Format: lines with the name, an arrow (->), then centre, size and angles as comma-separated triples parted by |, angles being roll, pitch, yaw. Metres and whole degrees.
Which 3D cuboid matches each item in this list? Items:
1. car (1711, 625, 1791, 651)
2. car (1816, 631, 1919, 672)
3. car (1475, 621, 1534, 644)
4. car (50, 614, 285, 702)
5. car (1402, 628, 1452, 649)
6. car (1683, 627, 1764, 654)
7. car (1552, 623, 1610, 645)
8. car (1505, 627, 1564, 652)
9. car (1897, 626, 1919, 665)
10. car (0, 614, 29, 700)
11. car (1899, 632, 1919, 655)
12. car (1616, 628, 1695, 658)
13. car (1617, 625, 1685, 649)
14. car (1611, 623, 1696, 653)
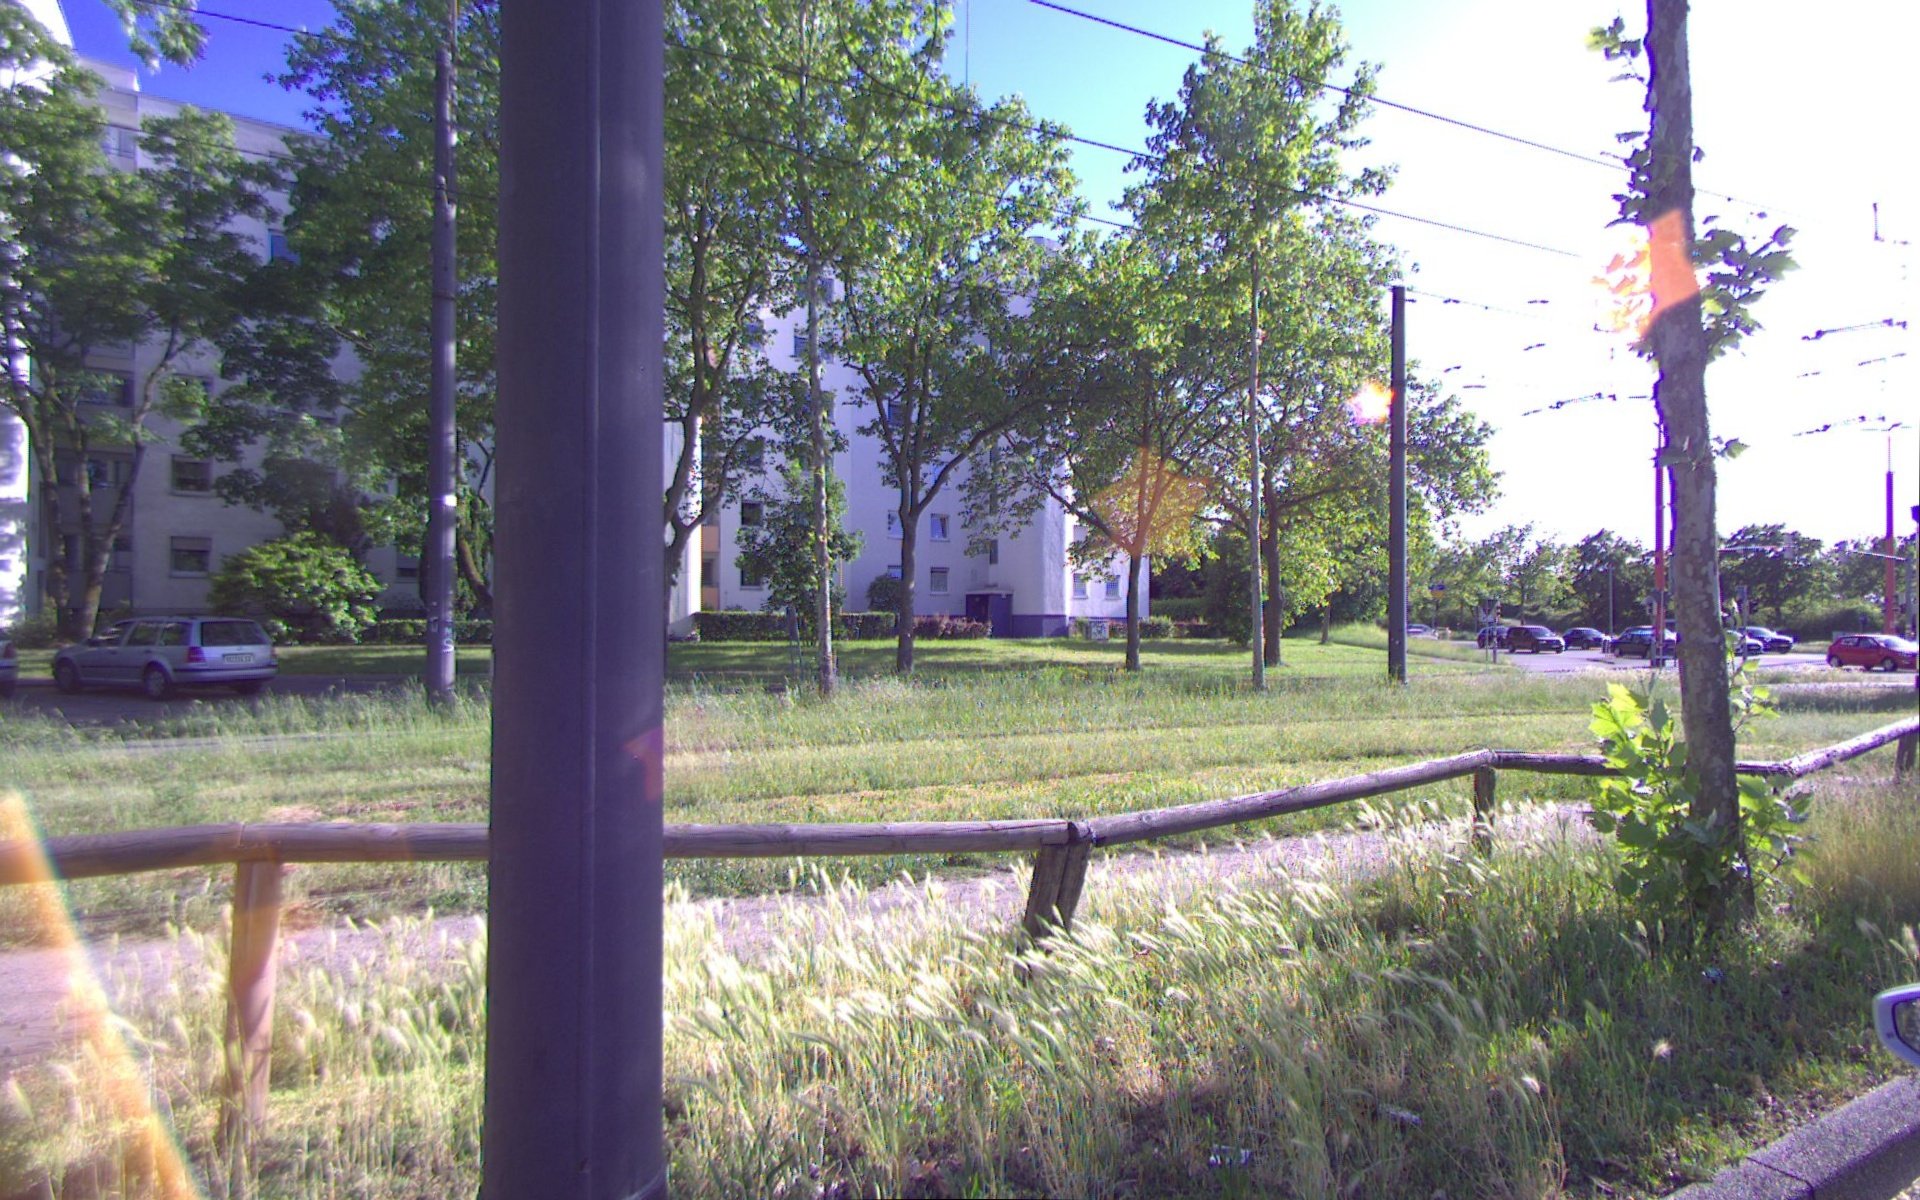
car -> 48.653, 2.317, 61.900 | 1.513, 1.434, 4.154 | 1, -1, -3
car -> 39.117, 2.167, 42.830 | 1.624, 1.540, 4.200 | 1, -1, 0
car -> 41.941, 2.470, 77.488 | 1.723, 1.669, 4.640 | 1, -1, -5
car -> -14.535, 1.005, 18.432 | 3.830, 1.421, 1.581 | 1, 0, 20
car -> 38.210, 3.137, 82.324 | 1.907, 1.540, 4.850 | 1, -1, 1
car -> 45.574, 2.388, 60.066 | 1.513, 1.434, 4.154 | 1, -1, -3
car -> 45.302, 2.452, 73.333 | 1.513, 1.434, 4.154 | 1, -1, -3
car -> 38.989, 2.636, 68.280 | 1.624, 1.540, 4.200 | 1, -1, 1
car -> 42.874, 1.989, 42.736 | 1.721, 1.669, 4.644 | 1, -1, 1
car -> -17.984, 0.942, 17.158 | 3.567, 1.421, 1.581 | 1, 0, 20
car -> 64.154, 2.884, 65.720 | 1.625, 1.476, 3.925 | 1, -1, -3
car -> 39.479, 2.424, 57.128 | 1.624, 1.540, 4.200 | 1, -1, 1
car -> 45.399, 2.421, 66.085 | 1.513, 1.434, 4.154 | 1, -1, -3
car -> 42.594, 2.308, 61.822 | 1.723, 1.669, 4.640 | 1, -1, -5
